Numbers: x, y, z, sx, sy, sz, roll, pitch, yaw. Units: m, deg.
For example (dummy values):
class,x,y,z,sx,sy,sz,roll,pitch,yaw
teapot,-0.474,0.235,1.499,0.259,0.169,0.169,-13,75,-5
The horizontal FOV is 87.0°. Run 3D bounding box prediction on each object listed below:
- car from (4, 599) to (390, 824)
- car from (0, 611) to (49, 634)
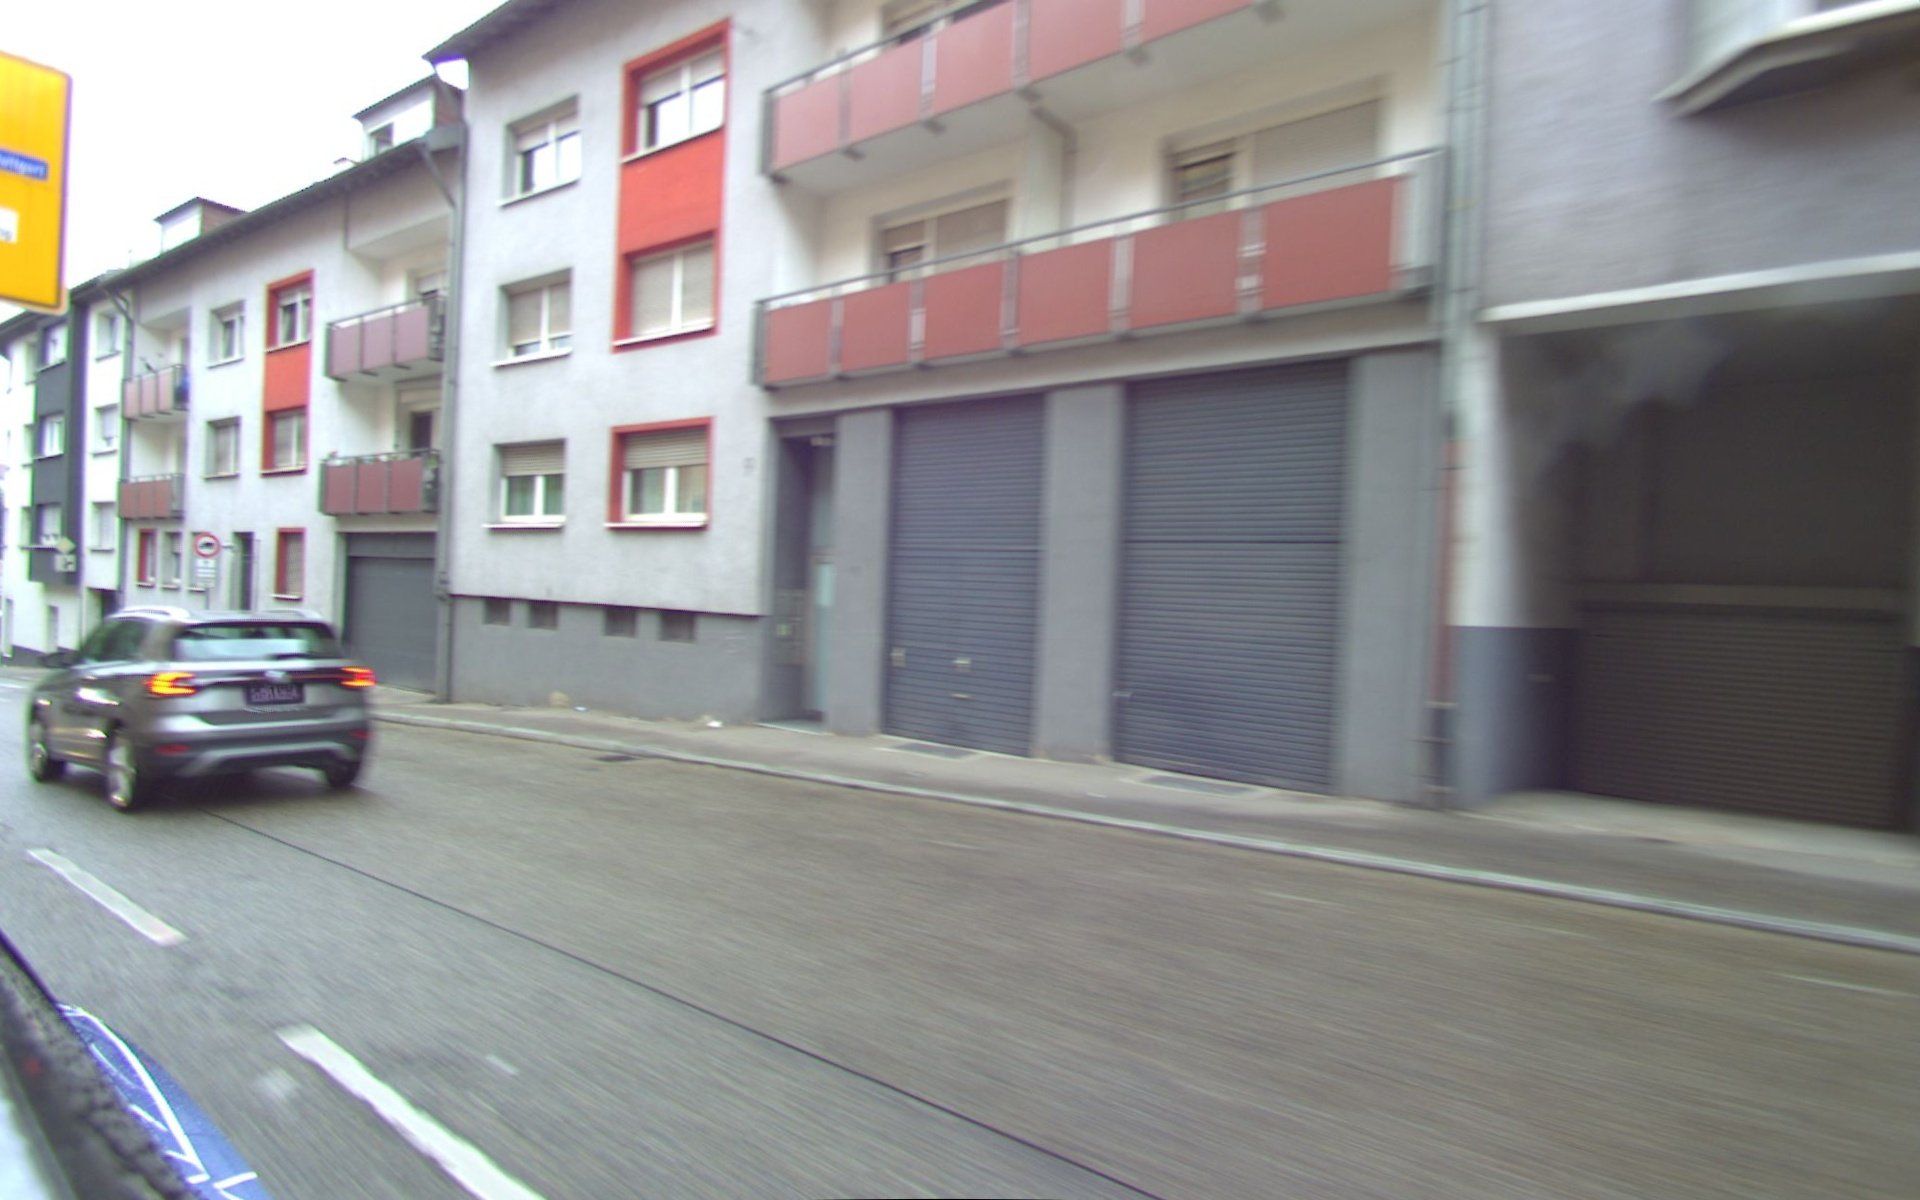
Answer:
class,x,y,z,sx,sy,sz,roll,pitch,yaw
car,-6.871,0.839,9.009,3.758,1.588,1.748,-1,-3,37
car,-68.334,1.568,72.601,1.783,1.522,3.981,2,-4,15
